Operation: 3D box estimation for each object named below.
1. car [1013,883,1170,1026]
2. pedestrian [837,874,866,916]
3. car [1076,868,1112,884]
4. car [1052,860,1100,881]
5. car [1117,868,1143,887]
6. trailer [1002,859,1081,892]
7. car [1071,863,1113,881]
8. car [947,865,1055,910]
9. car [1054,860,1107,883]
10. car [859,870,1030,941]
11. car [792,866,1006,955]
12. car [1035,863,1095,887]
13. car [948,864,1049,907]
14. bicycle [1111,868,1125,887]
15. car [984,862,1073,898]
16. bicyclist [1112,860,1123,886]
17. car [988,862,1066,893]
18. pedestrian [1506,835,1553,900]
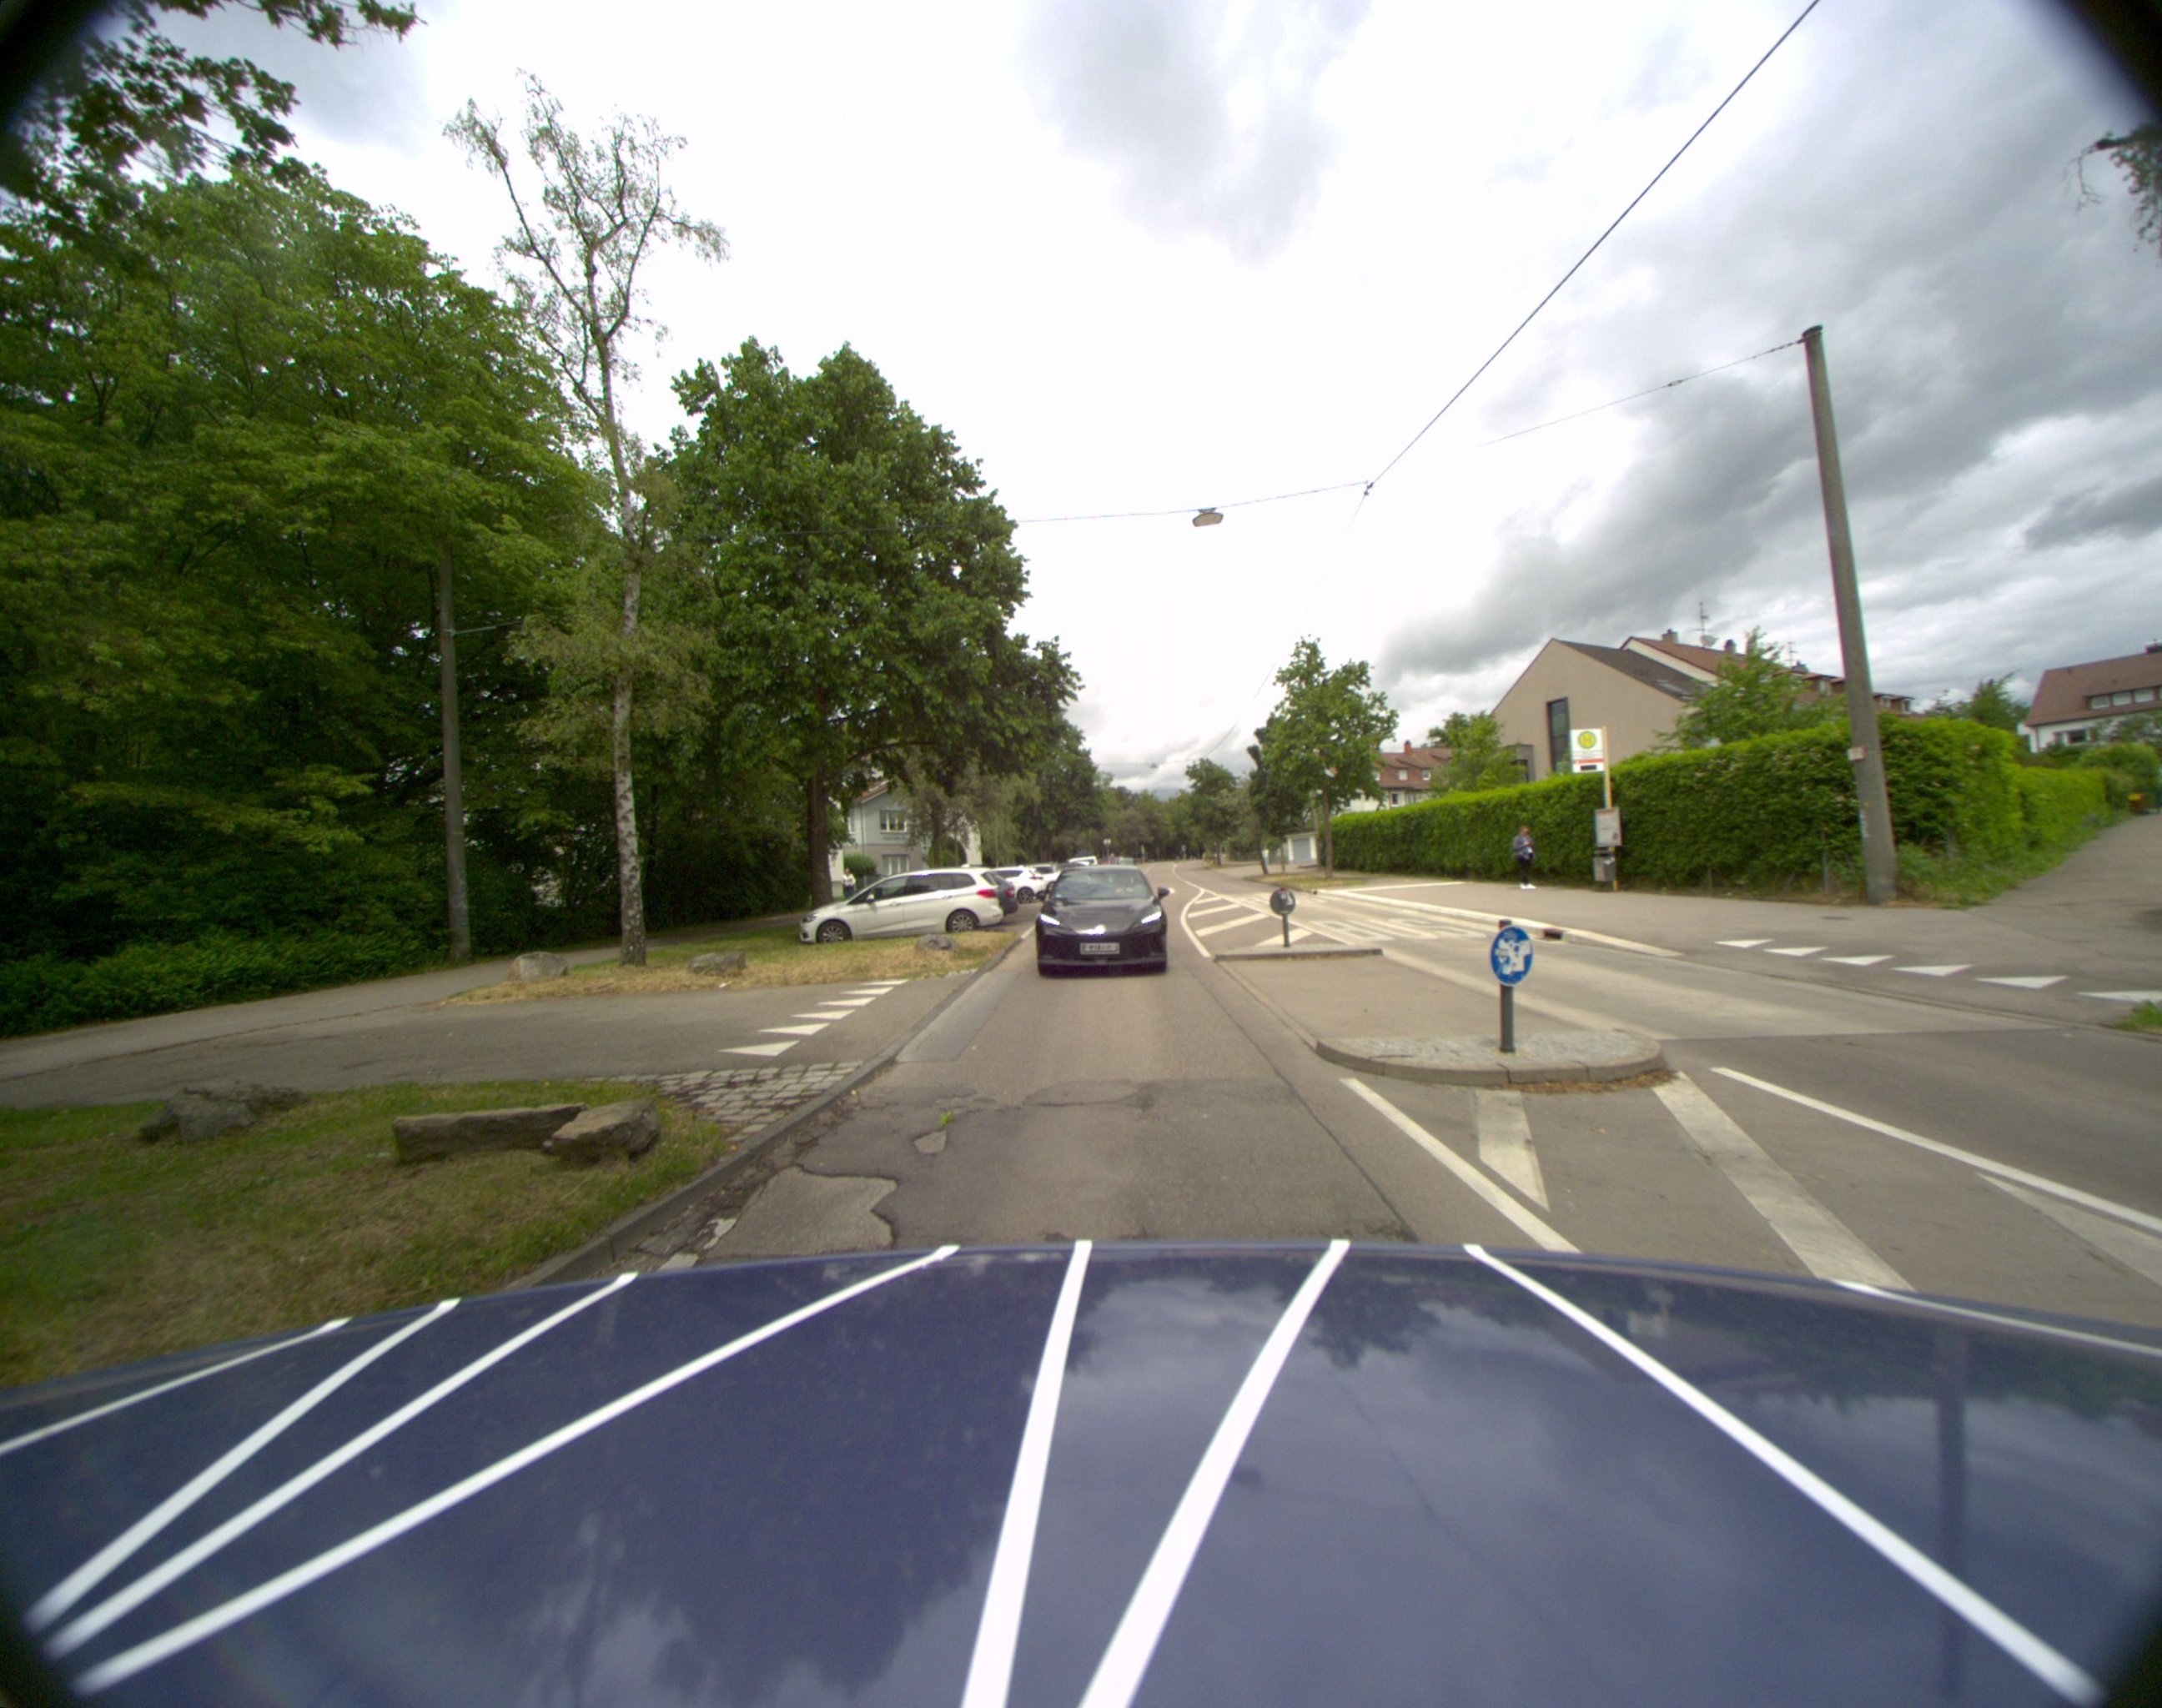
[{"bbox_3d":[0.310,1.277,10.907,1.812,1.484,3.795,-3,0,6],"label":"car"},{"bbox_3d":[-9.362,1.675,31.036,0.692,1.634,0.779,-3,0,25],"label":"pedestrian"},{"bbox_3d":[1.534,2.628,91.067,3.858,1.603,1.653,-4,0,-13],"label":"car"},{"bbox_3d":[-0.475,1.413,64.984,3.857,1.430,1.715,-4,0,-8],"label":"car"},{"bbox_3d":[4.090,1.936,63.161,1.860,1.366,4.078,-3,0,7],"label":"car"},{"bbox_3d":[-2.183,1.159,41.298,4.001,1.543,1.657,-3,0,-12],"label":"trailer"},{"bbox_3d":[1.044,1.738,73.923,3.857,1.426,1.654,-4,0,-8],"label":"car"},{"bbox_3d":[-3.246,1.301,30.363,4.001,1.455,1.864,-4,0,-13],"label":"car"},{"bbox_3d":[-0.055,1.584,68.140,4.224,1.748,1.857,-4,0,-18],"label":"car"},{"bbox_3d":[-3.596,1.298,20.104,4.147,1.455,1.796,-4,0,-13],"label":"car"},{"bbox_3d":[-4.029,1.228,17.504,4.481,1.576,1.906,-4,0,-6],"label":"car"},{"bbox_3d":[-1.150,1.504,54.533,3.858,1.426,1.713,-4,1,-18],"label":"car"},{"bbox_3d":[-3.598,1.335,32.826,4.002,1.455,1.794,-4,0,-15],"label":"car"},{"bbox_3d":[2.538,1.614,52.393,0.648,1.230,1.877,-3,0,-4],"label":"bicycle"},{"bbox_3d":[-2.668,1.284,38.359,4.003,1.455,1.848,-4,0,-22],"label":"car"},{"bbox_3d":[2.523,1.331,52.510,0.647,1.768,0.628,-2,1,-5],"label":"bicyclist"},{"bbox_3d":[-3.107,1.320,43.559,4.003,1.455,1.789,-4,0,-19],"label":"car"},{"bbox_3d":[12.091,0.363,20.508,0.693,1.700,0.778,-3,0,-3],"label":"pedestrian"}]
